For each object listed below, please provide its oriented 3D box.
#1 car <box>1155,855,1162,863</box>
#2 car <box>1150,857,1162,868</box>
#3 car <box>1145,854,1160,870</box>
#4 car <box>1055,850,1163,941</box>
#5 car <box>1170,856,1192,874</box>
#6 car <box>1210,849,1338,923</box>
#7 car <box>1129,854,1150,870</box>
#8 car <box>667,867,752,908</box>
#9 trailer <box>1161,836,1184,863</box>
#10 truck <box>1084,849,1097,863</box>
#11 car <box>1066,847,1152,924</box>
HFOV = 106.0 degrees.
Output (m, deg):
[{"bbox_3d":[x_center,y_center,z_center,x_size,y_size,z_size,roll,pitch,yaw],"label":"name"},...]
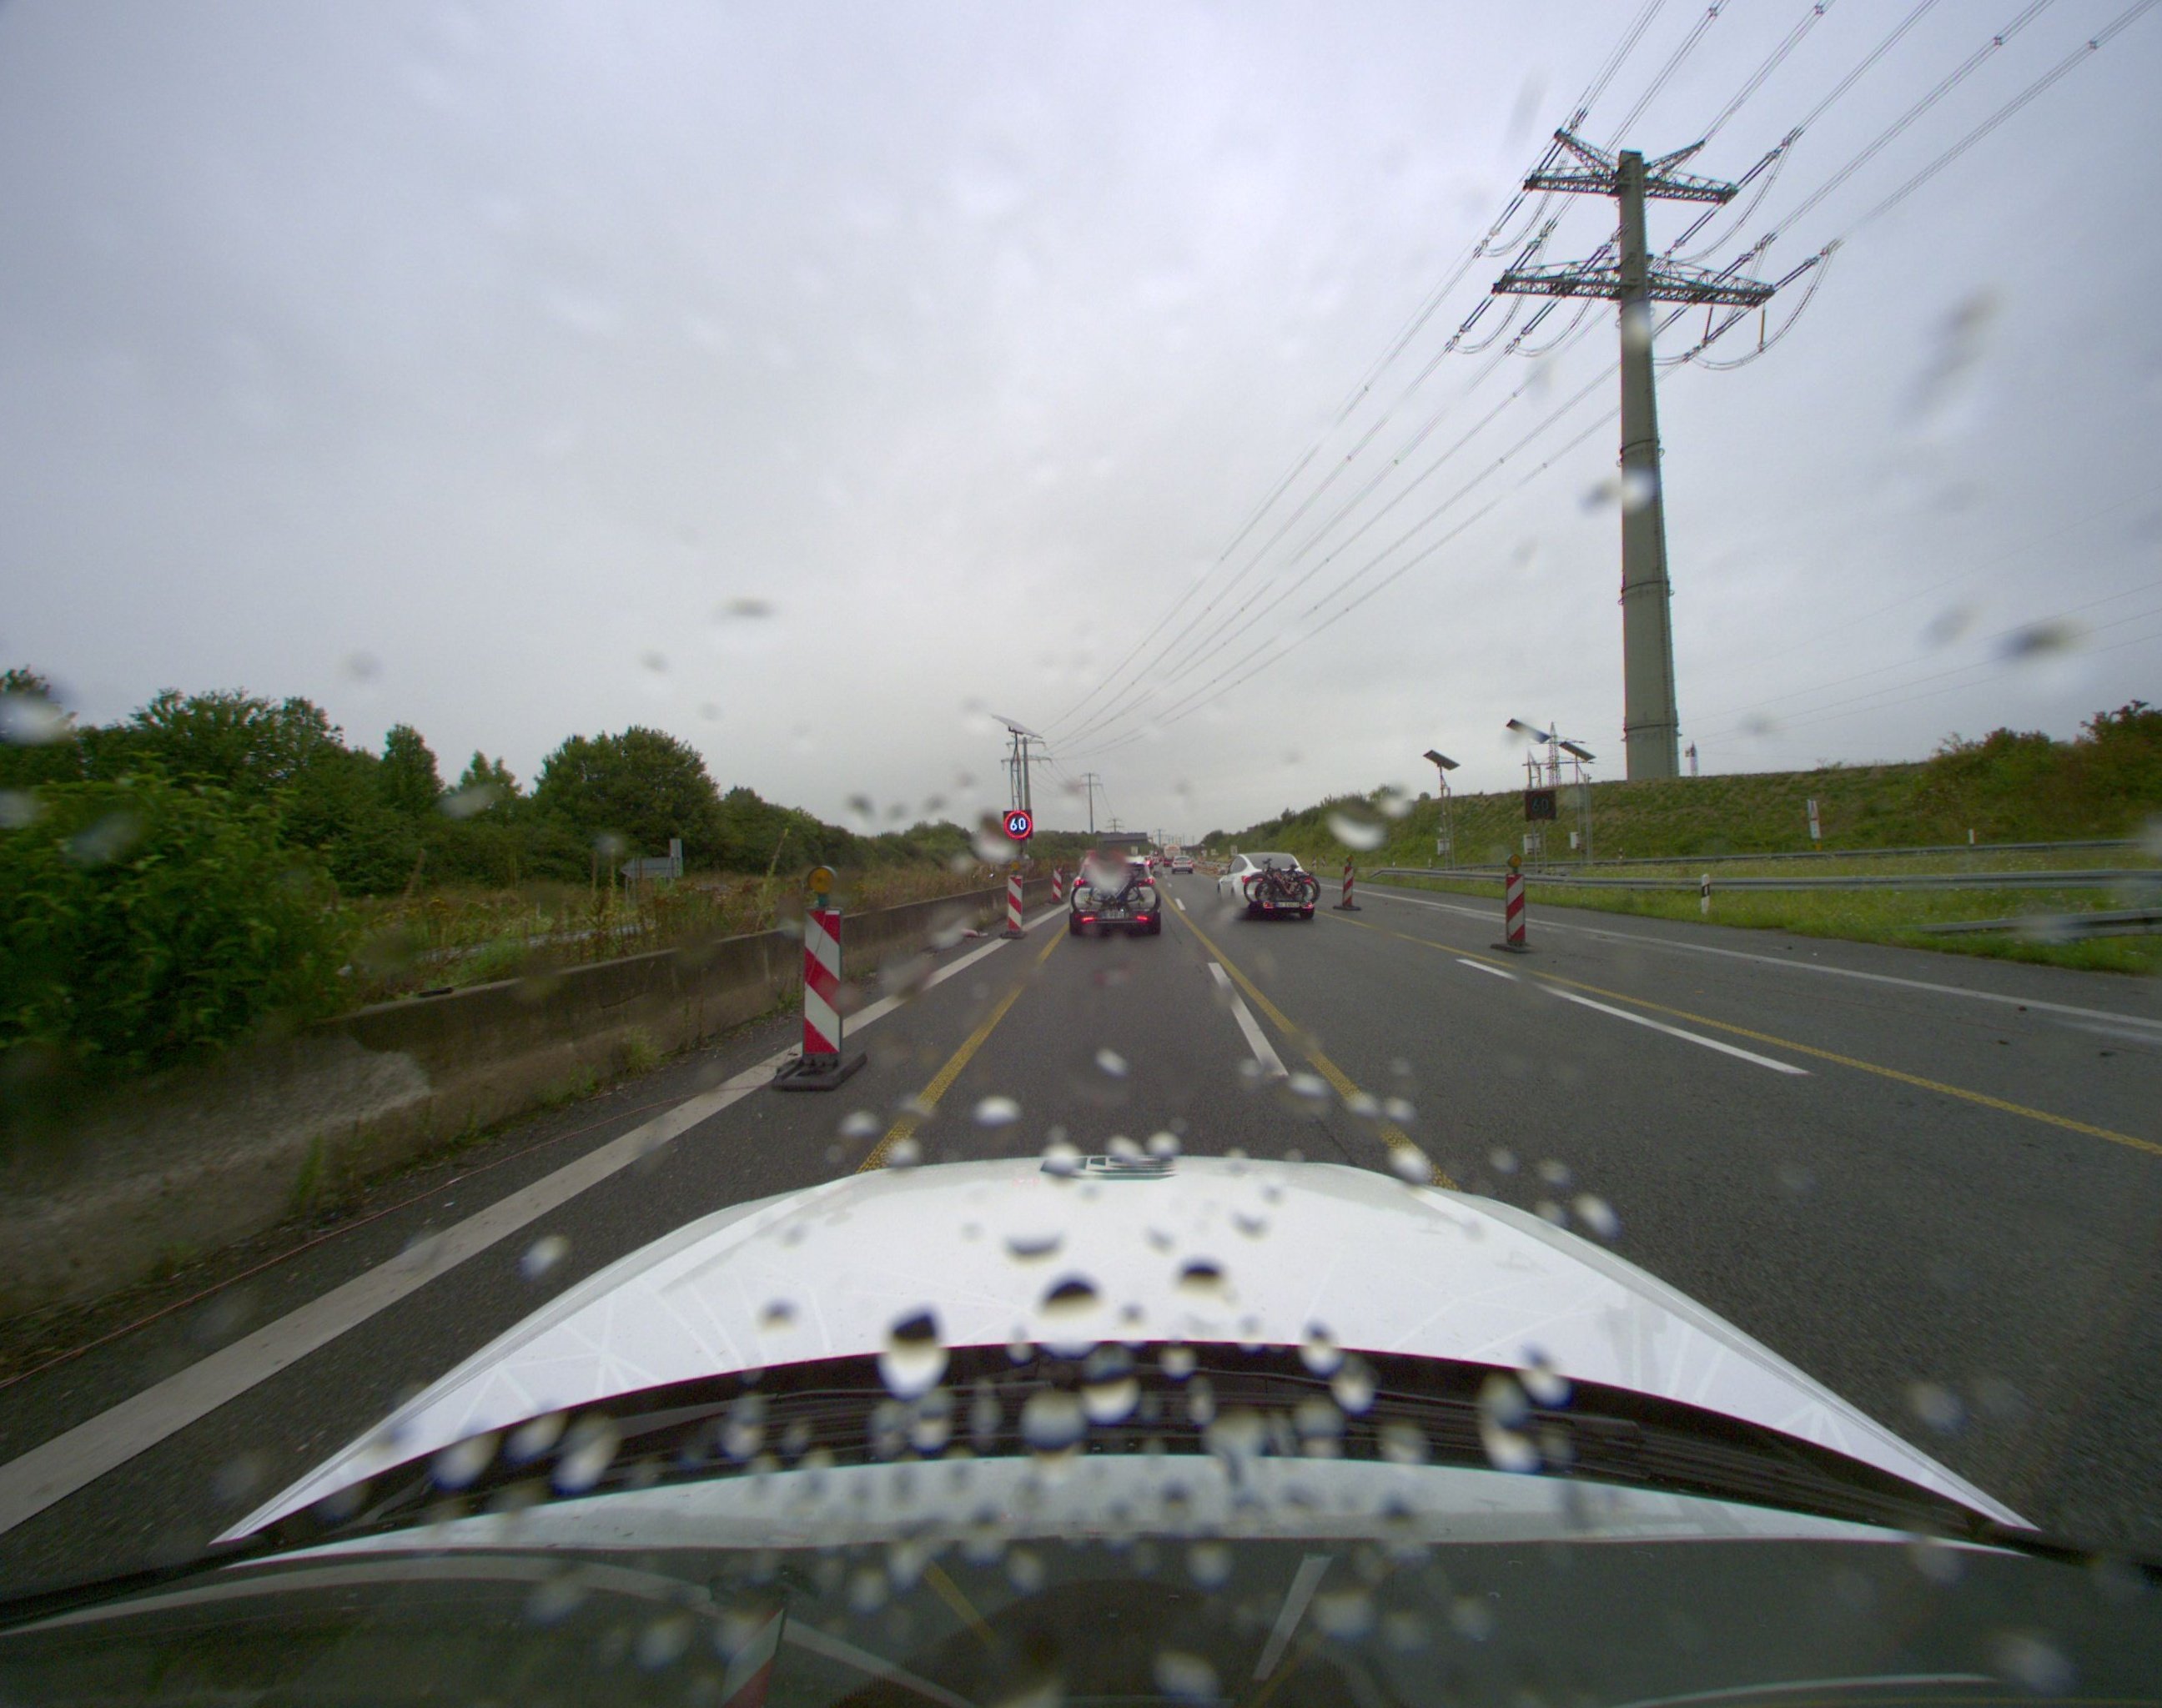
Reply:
[{"bbox_3d":[20.119,1.257,211.366,1.645,2.014,4.007,-1,0,6],"label":"car"},{"bbox_3d":[14.553,1.633,158.098,1.986,2.014,4.002,0,-1,2],"label":"car"},{"bbox_3d":[9.946,1.139,113.444,1.986,2.013,4.003,0,2,2],"label":"car"},{"bbox_3d":[0.691,0.764,16.967,1.919,1.611,4.601,-1,0,4],"label":"car"},{"bbox_3d":[8.781,0.955,71.720,1.861,1.535,4.203,-1,0,5],"label":"car"},{"bbox_3d":[4.651,0.722,20.598,2.038,1.596,5.804,0,0,2],"label":"car"},{"bbox_3d":[6.042,0.833,84.816,1.986,1.584,4.002,-1,0,2],"label":"car"},{"bbox_3d":[-22.079,1.966,48.562,1.674,2.110,4.312,-3,-1,35],"label":"car"},{"bbox_3d":[13.676,-0.555,122.809,2.627,3.893,10.548,0,-1,2],"label":"trailer"},{"bbox_3d":[2.374,0.486,199.666,3.010,3.531,4.932,0,-1,4],"label":"truck"},{"bbox_3d":[0.798,0.756,21.433,1.985,1.760,4.004,-3,0,4],"label":"car"}]
